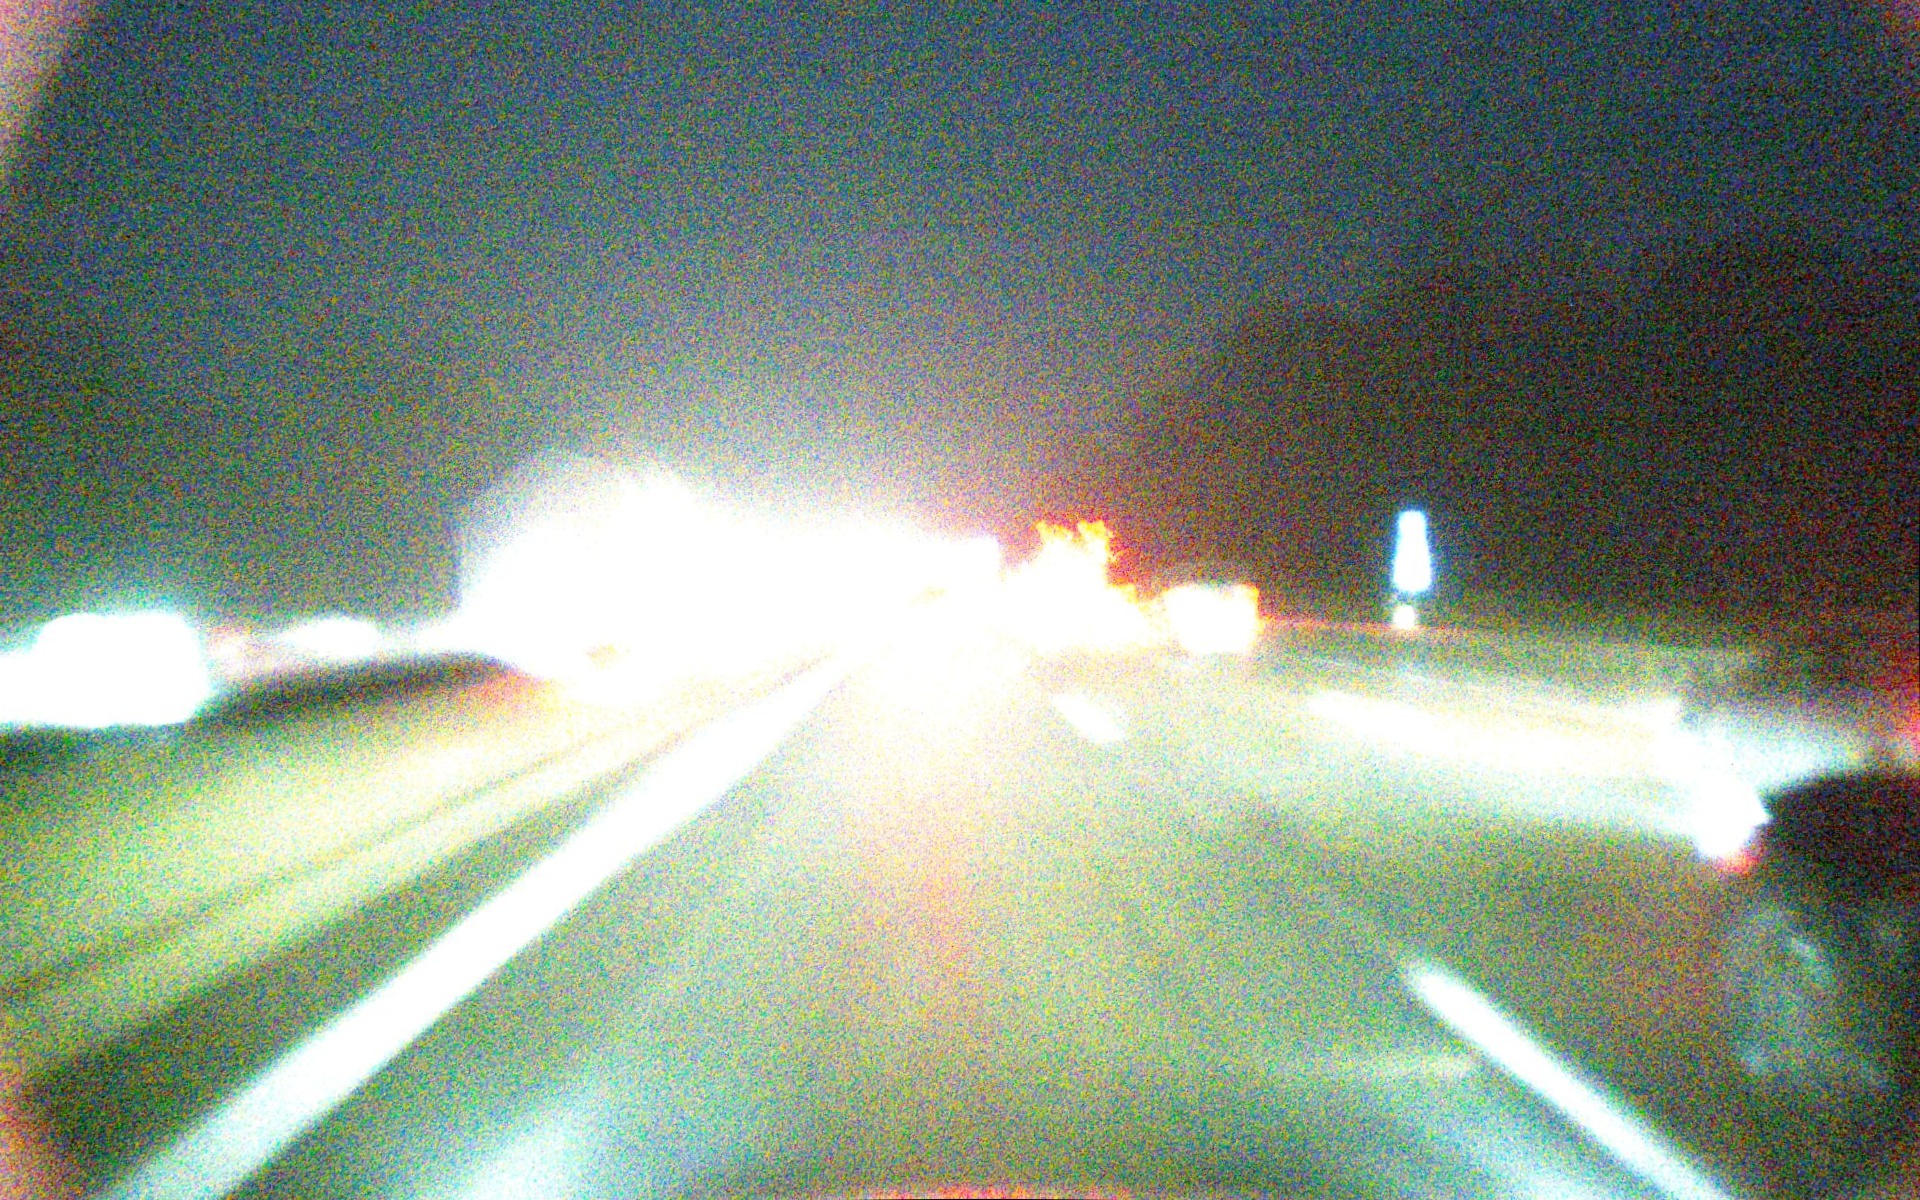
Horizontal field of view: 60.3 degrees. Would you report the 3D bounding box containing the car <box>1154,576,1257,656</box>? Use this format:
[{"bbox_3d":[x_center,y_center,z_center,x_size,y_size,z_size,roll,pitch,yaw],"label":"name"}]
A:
[{"bbox_3d":[6.728,0.380,45.847,2.004,2.008,5.407,-2,1,0],"label":"car"}]

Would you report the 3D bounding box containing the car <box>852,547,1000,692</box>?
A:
[{"bbox_3d":[-0.749,0.325,33.601,2.655,2.578,5.828,-2,1,-2],"label":"car"}]

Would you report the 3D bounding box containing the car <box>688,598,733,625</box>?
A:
[{"bbox_3d":[-14.312,0.632,94.994,1.953,1.440,4.588,-2,1,-1],"label":"car"}]

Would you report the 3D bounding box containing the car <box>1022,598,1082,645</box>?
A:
[{"bbox_3d":[2.929,0.665,53.289,1.580,1.437,3.790,0,0,-2],"label":"car"}]

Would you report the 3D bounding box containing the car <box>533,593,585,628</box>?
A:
[{"bbox_3d":[-24.682,0.635,101.946,1.953,1.982,5.385,-2,0,-1],"label":"car"}]

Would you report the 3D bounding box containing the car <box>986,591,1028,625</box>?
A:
[{"bbox_3d":[2.297,0.391,81.326,1.846,1.616,3.999,1,0,-1],"label":"car"}]

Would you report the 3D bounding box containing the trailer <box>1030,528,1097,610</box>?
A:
[{"bbox_3d":[5.669,-1.651,92.819,2.747,4.286,12.094,0,0,-1],"label":"trailer"}]

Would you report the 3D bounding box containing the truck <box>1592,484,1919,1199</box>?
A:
[{"bbox_3d":[3.013,0.623,3.029,1.806,1.726,4.854,1,0,-1],"label":"truck"}]

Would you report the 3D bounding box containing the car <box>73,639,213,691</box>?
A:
[{"bbox_3d":[-20.372,1.595,41.433,1.605,1.122,4.045,1,0,-2],"label":"car"}]

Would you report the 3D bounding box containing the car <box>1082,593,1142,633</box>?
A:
[{"bbox_3d":[6.210,0.524,68.143,1.856,1.512,4.960,1,1,-2],"label":"car"}]
